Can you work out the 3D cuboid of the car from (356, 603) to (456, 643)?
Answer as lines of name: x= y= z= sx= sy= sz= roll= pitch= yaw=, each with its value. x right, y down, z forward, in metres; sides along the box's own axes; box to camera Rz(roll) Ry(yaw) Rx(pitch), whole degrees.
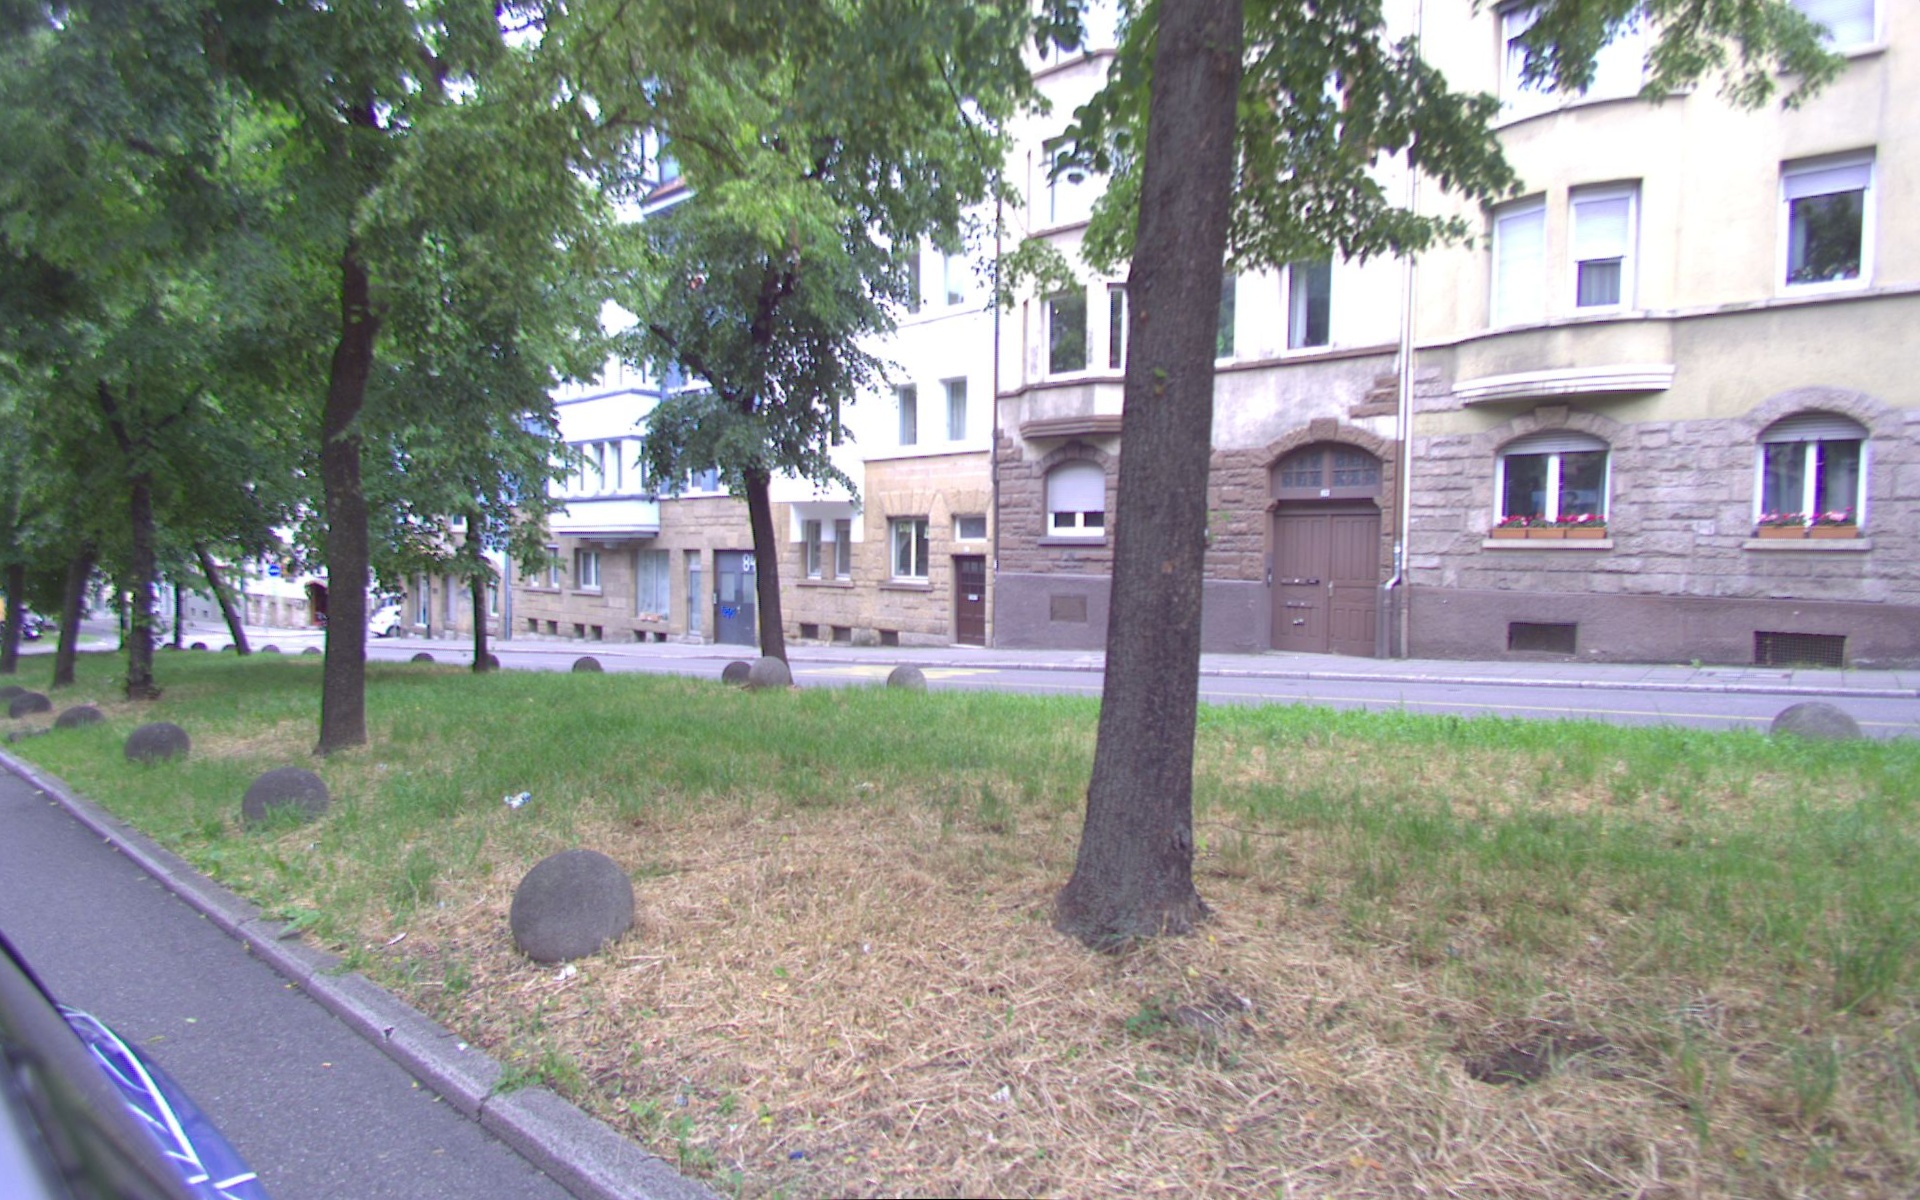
car: x=-27.933 y=1.122 z=51.095 sx=1.869 sy=1.480 sz=3.960 roll=2 pitch=7 yaw=38

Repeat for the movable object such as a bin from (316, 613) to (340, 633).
movable object such as a bin: x=-34.314 y=1.246 z=54.919 sx=0.668 sy=1.000 sz=0.877 roll=0 pitch=4 yaw=40

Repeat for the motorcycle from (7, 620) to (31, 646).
motorcycle: x=-44.383 y=1.548 z=47.749 sx=0.740 sy=1.081 sz=1.854 roll=-2 pitch=4 yaw=-42

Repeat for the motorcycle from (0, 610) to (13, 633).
motorcycle: x=-64.544 y=1.438 z=67.179 sx=0.963 sy=1.494 sz=2.392 roll=3 pitch=2 yaw=41
